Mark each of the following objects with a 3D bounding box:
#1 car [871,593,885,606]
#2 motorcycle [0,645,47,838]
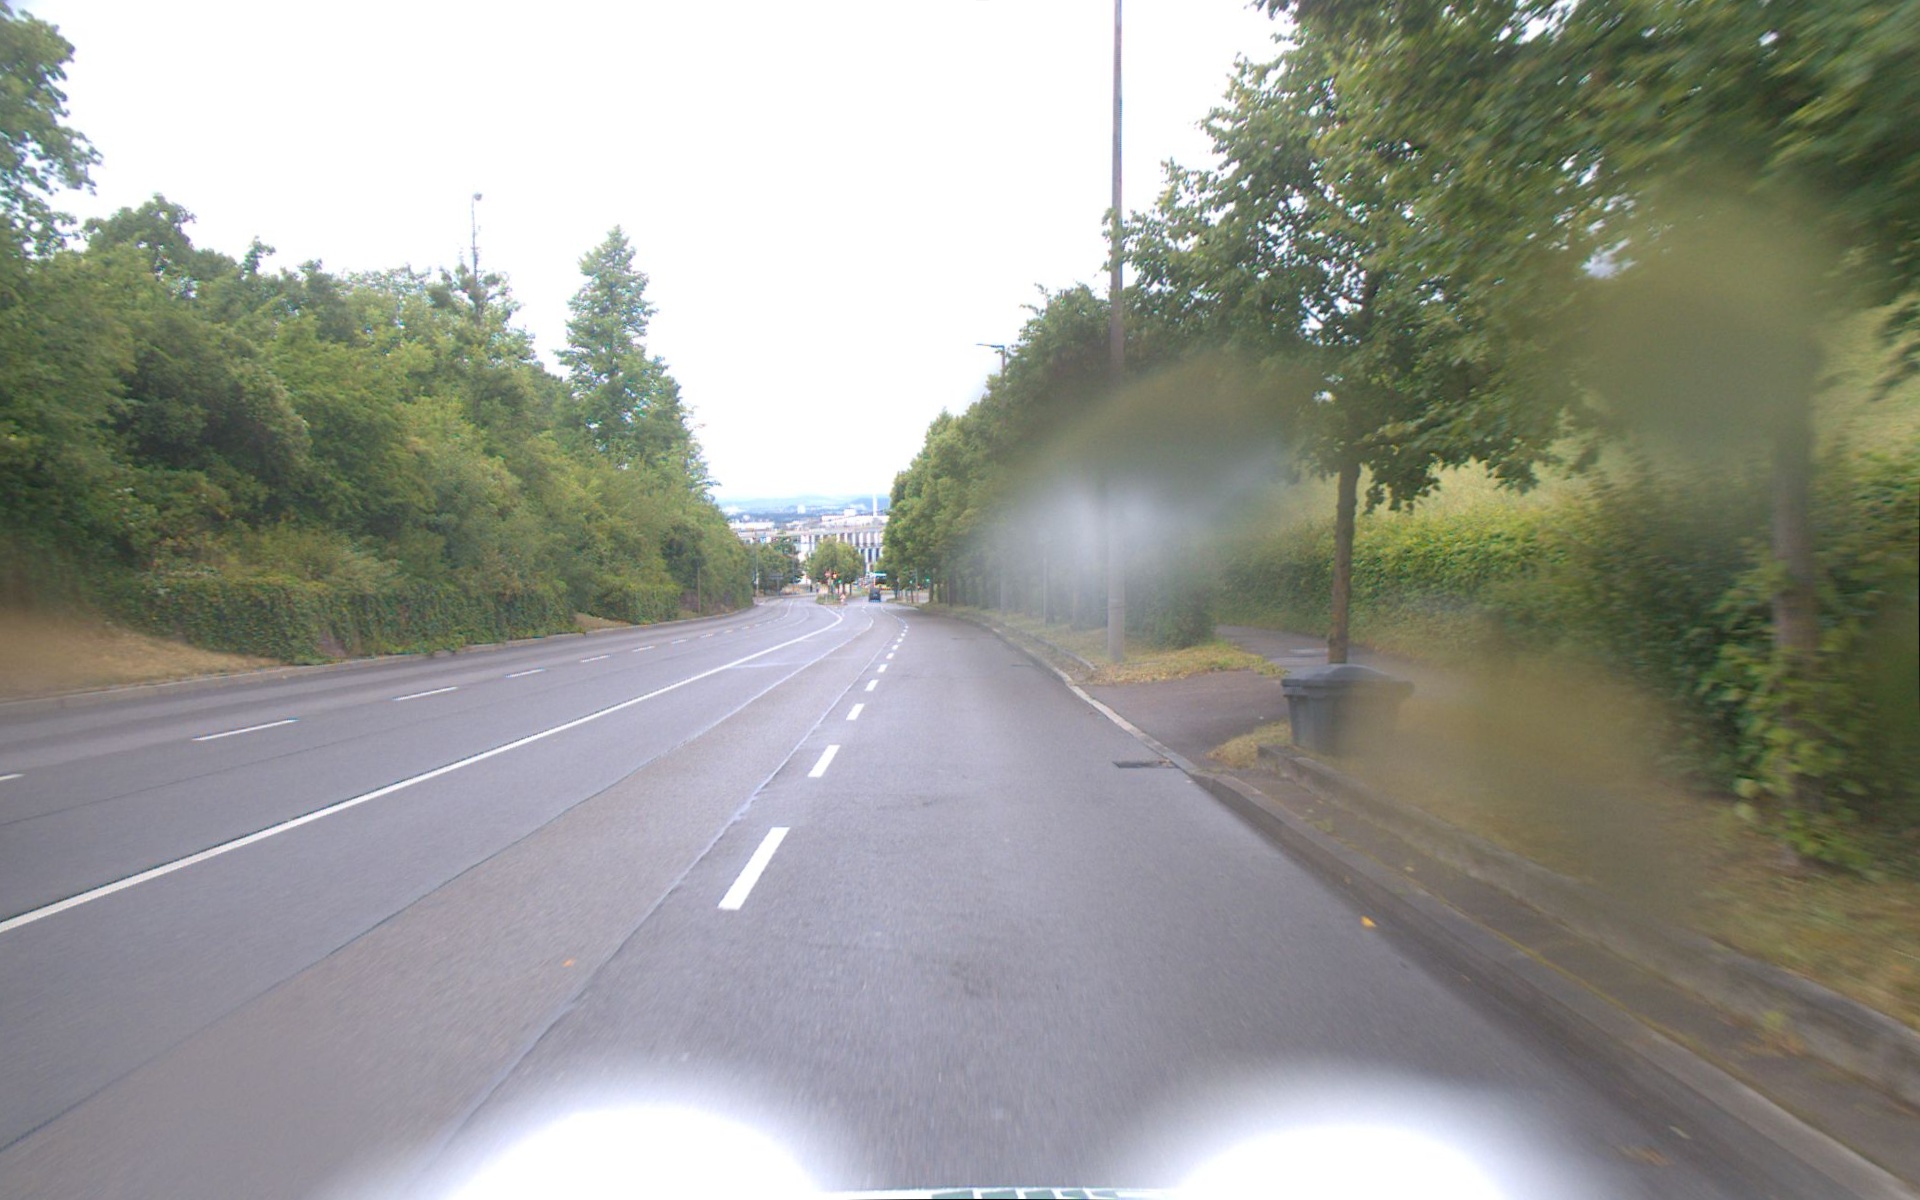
[{"bbox_3d":[-11.019,-0.049,222.628,1.812,1.732,3.790,1,-1,-3],"label":"car"},{"bbox_3d":[-6.192,0.860,9.390,0.789,1.151,2.231,0,0,-1],"label":"motorcycle"}]
